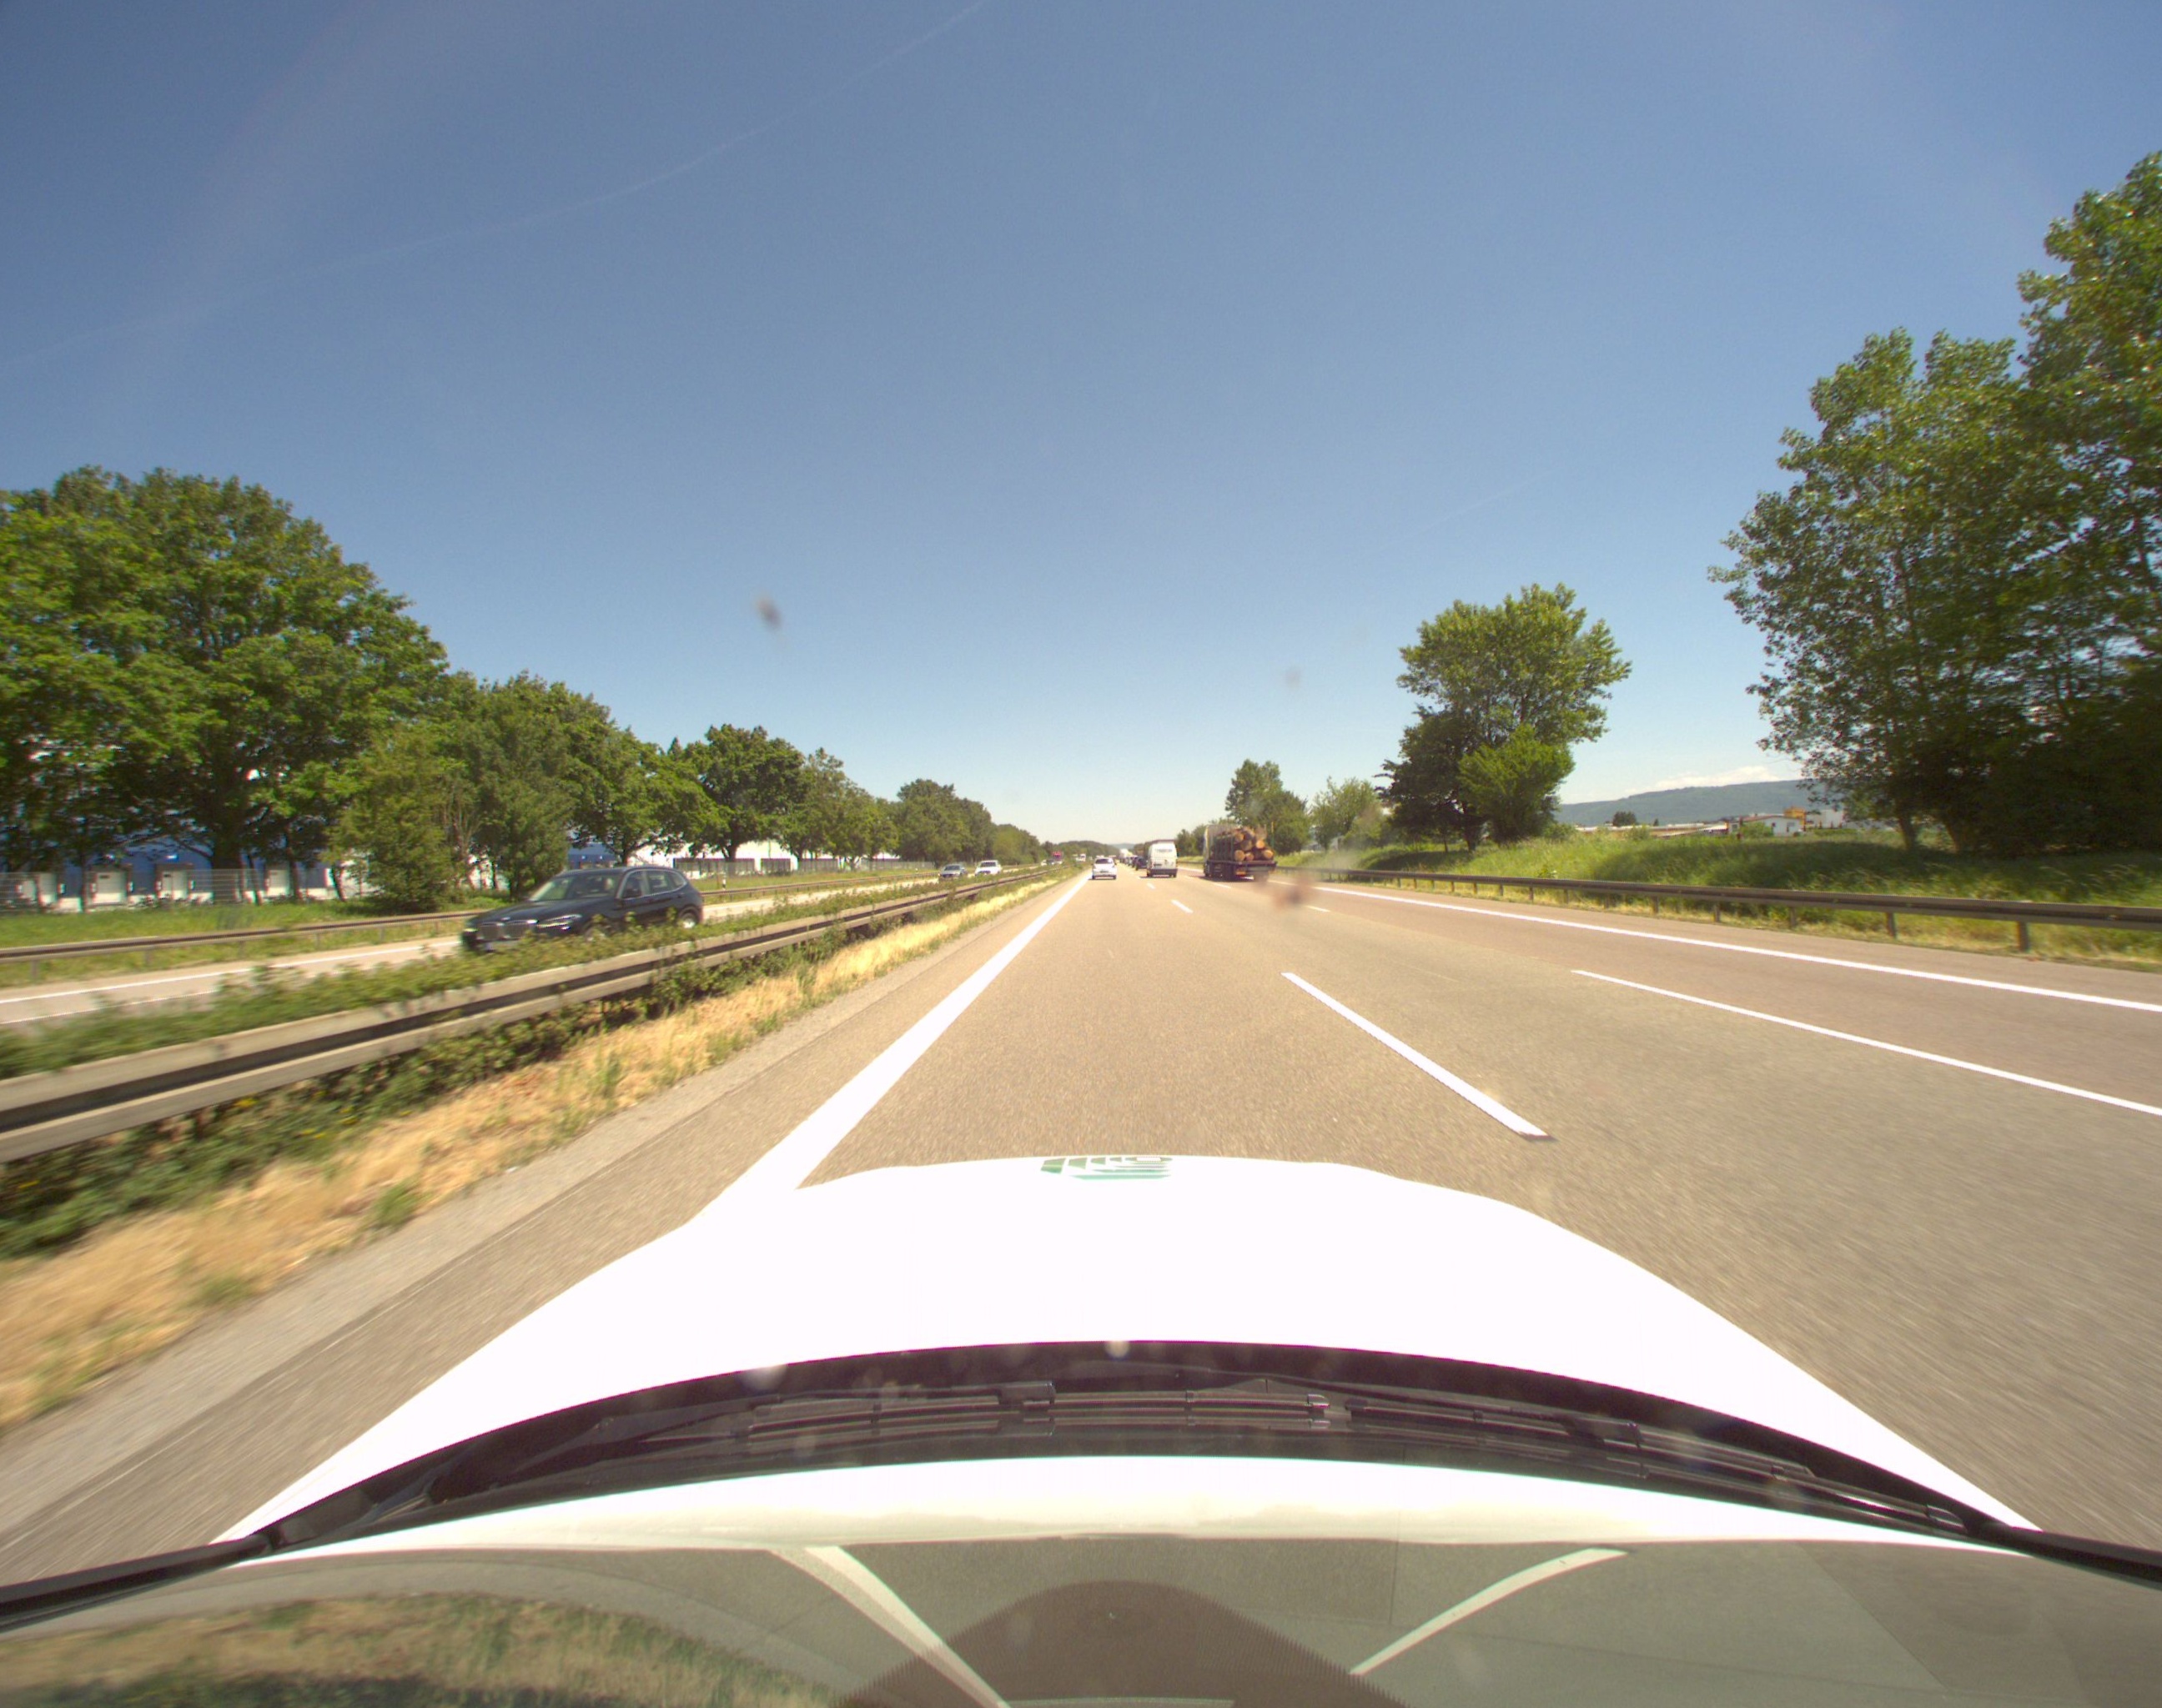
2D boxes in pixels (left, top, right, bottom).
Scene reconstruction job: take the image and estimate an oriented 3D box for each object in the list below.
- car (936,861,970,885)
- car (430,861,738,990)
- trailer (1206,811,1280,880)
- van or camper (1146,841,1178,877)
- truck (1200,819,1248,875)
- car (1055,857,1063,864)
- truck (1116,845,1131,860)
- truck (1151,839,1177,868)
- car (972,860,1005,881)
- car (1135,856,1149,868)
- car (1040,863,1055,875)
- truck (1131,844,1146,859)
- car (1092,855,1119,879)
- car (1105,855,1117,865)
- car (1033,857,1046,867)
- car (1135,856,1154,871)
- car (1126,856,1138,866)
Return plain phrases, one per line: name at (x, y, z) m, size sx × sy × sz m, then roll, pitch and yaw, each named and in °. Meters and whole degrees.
car at (-10.265, 1.508, 65.676) m, size 1.865 × 1.794 × 4.426 m, roll 0°, pitch 0°, yaw 2°
car at (-8.519, 1.078, 14.842) m, size 1.986 × 1.886 × 5.650 m, roll 0°, pitch 0°, yaw 2°
trailer at (10.456, -0.472, 54.139) m, size 2.643 × 3.958 × 13.642 m, roll 0°, pitch 0°, yaw 2°
van or camper at (6.112, 0.387, 62.212) m, size 2.050 × 2.622 × 5.988 m, roll -1°, pitch 0°, yaw 2°
truck at (10.678, -0.489, 61.321) m, size 2.659 × 3.994 × 6.639 m, roll 0°, pitch 0°, yaw 2°
car at (-5.688, 1.774, 211.132) m, size 1.839 × 1.682 × 4.816 m, roll -3°, pitch -1°, yaw 2°
truck at (12.278, -0.426, 236.132) m, size 3.247 × 4.209 × 16.838 m, roll 0°, pitch 0°, yaw 0°
truck at (12.607, -0.012, 124.792) m, size 3.066 × 4.209 × 16.853 m, roll 0°, pitch 0°, yaw 3°
car at (-7.399, 1.324, 65.668) m, size 1.986 × 1.640 × 4.574 m, roll 0°, pitch 0°, yaw 2°
car at (8.878, 1.182, 118.938) m, size 1.851 × 1.652 × 4.000 m, roll -1°, pitch 0°, yaw 0°
car at (-5.393, 2.448, 131.098) m, size 1.986 × 1.640 × 4.861 m, roll -5°, pitch -1°, yaw 2°
truck at (17.324, -0.605, 244.748) m, size 3.247 × 4.209 × 16.838 m, roll 0°, pitch 0°, yaw 0°
car at (1.686, 0.911, 57.499) m, size 1.851 × 1.652 × 4.000 m, roll 0°, pitch 0°, yaw 0°
car at (5.230, 0.999, 141.737) m, size 1.851 × 1.652 × 4.000 m, roll -1°, pitch 0°, yaw 0°
car at (-8.316, 1.596, 163.343) m, size 1.987 × 1.640 × 4.860 m, roll -5°, pitch -1°, yaw 1°
car at (7.252, 1.082, 93.503) m, size 1.851 × 1.652 × 4.000 m, roll -1°, pitch 0°, yaw 0°
car at (8.774, 1.140, 140.318) m, size 1.851 × 1.652 × 4.000 m, roll -1°, pitch 0°, yaw 0°
